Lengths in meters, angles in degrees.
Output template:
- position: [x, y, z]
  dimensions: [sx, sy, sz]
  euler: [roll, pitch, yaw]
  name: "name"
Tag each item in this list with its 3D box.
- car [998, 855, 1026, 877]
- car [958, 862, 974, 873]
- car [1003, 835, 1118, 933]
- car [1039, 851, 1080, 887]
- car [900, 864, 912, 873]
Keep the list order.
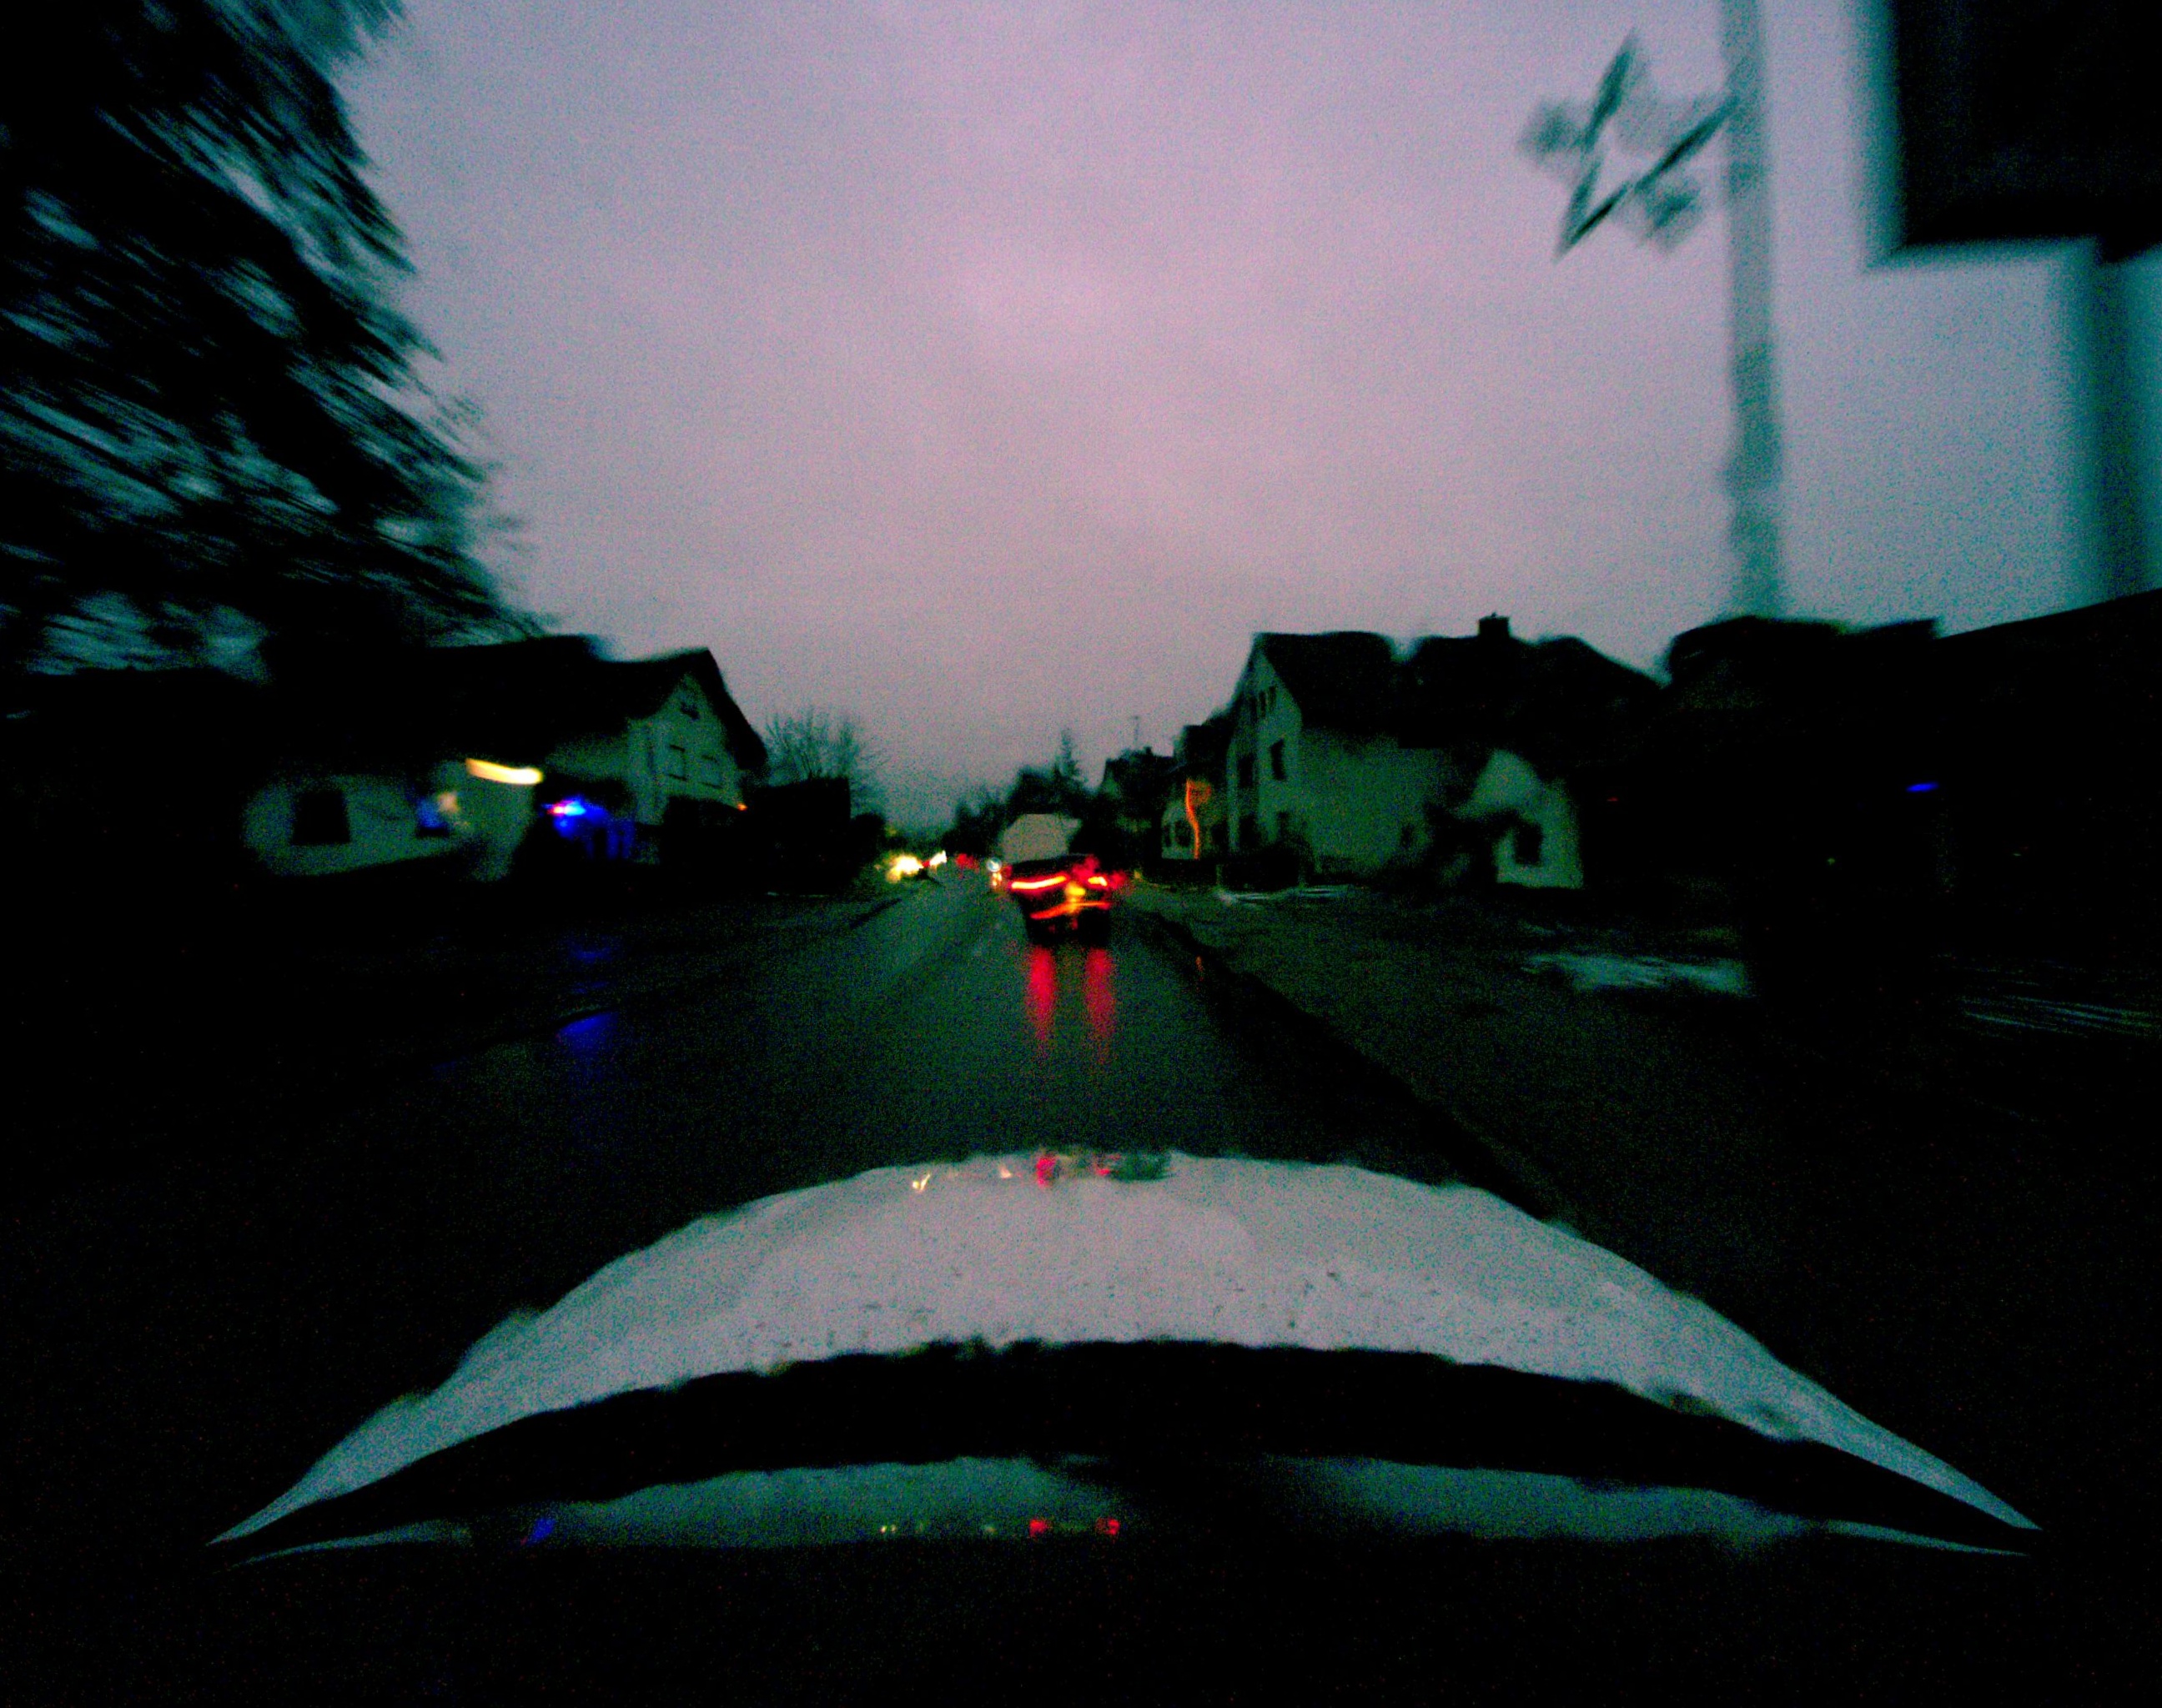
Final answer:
- position: [-6.609, 1.122, 77.505]
  dimensions: [2.309, 1.938, 5.003]
  euler: [-2, -1, -9]
  name: "car"
- position: [-14.629, 1.665, 103.492]
  dimensions: [1.842, 1.331, 3.924]
  euler: [-2, 0, -10]
  name: "car"
- position: [-0.411, 0.642, 19.291]
  dimensions: [2.302, 1.938, 5.017]
  euler: [-2, -1, 0]
  name: "car"
- position: [-1.048, 0.689, 39.300]
  dimensions: [1.853, 1.647, 3.997]
  euler: [-1, 0, -2]
  name: "car"
- position: [-31.241, 2.559, 145.264]
  dimensions: [1.826, 1.554, 3.981]
  euler: [-3, 0, -14]
  name: "car"
